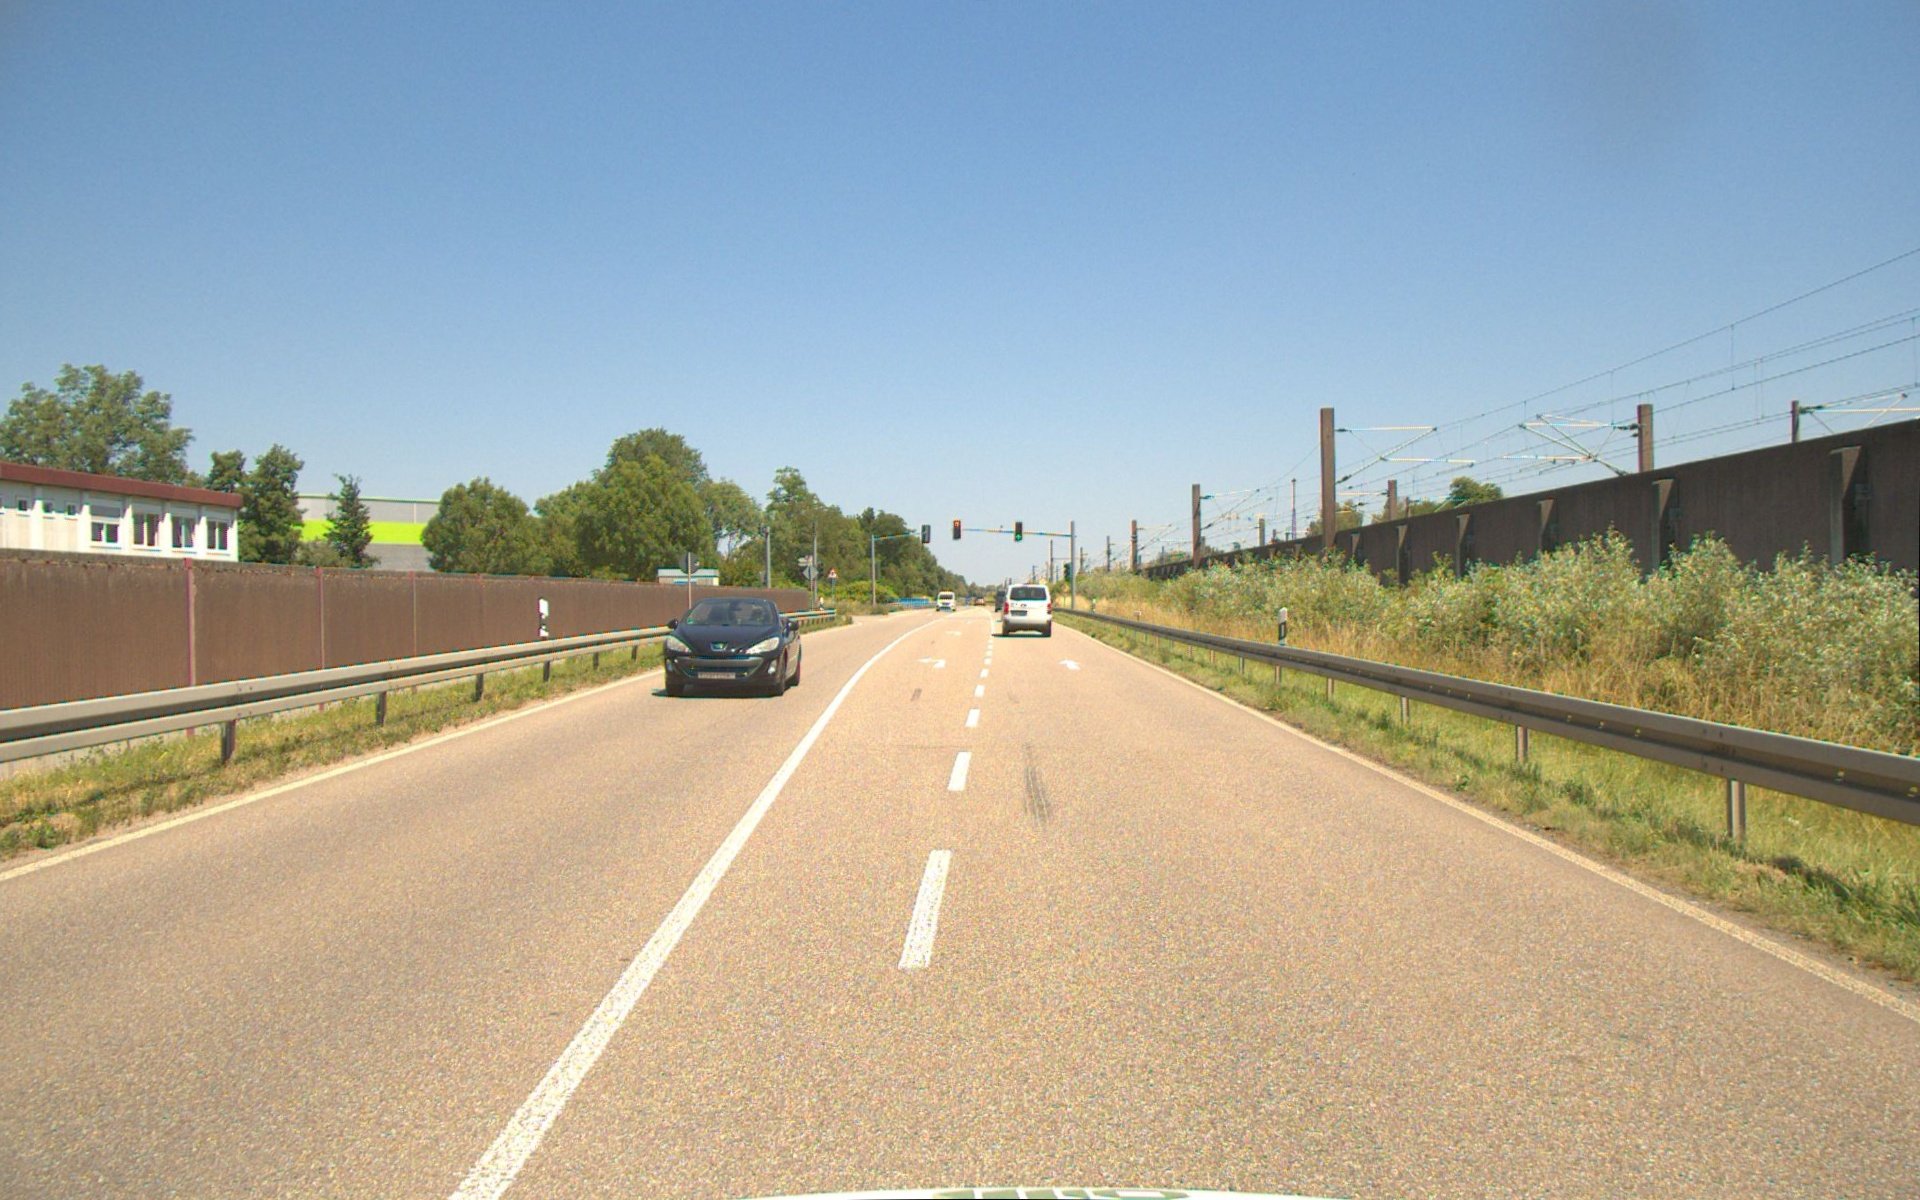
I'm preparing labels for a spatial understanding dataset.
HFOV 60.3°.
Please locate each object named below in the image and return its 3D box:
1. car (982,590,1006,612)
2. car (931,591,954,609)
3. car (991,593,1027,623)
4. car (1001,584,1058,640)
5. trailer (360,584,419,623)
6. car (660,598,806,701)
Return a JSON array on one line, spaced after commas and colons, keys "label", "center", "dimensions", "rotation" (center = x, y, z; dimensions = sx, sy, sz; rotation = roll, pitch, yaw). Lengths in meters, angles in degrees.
[{"label": "car", "center": [3.136, 0.131, 153.089], "dimensions": [2.111, 2.002, 4.542], "rotation": [0, 0, -1]}, {"label": "car", "center": [-1.675, -0.003, 158.870], "dimensions": [1.851, 1.770, 4.771], "rotation": [0, 0, -6]}, {"label": "car", "center": [2.950, 0.452, 100.217], "dimensions": [1.978, 1.756, 4.542], "rotation": [0, 0, -1]}, {"label": "car", "center": [2.616, 0.434, 63.097], "dimensions": [1.953, 2.018, 4.059], "rotation": [1, 0, 0]}, {"label": "trailer", "center": [-41.899, 0.268, 121.589], "dimensions": [1.796, 2.813, 3.732], "rotation": [0, 0, 45]}, {"label": "car", "center": [-3.420, 0.701, 25.586], "dimensions": [1.808, 1.414, 4.188], "rotation": [1, 0, -2]}]
